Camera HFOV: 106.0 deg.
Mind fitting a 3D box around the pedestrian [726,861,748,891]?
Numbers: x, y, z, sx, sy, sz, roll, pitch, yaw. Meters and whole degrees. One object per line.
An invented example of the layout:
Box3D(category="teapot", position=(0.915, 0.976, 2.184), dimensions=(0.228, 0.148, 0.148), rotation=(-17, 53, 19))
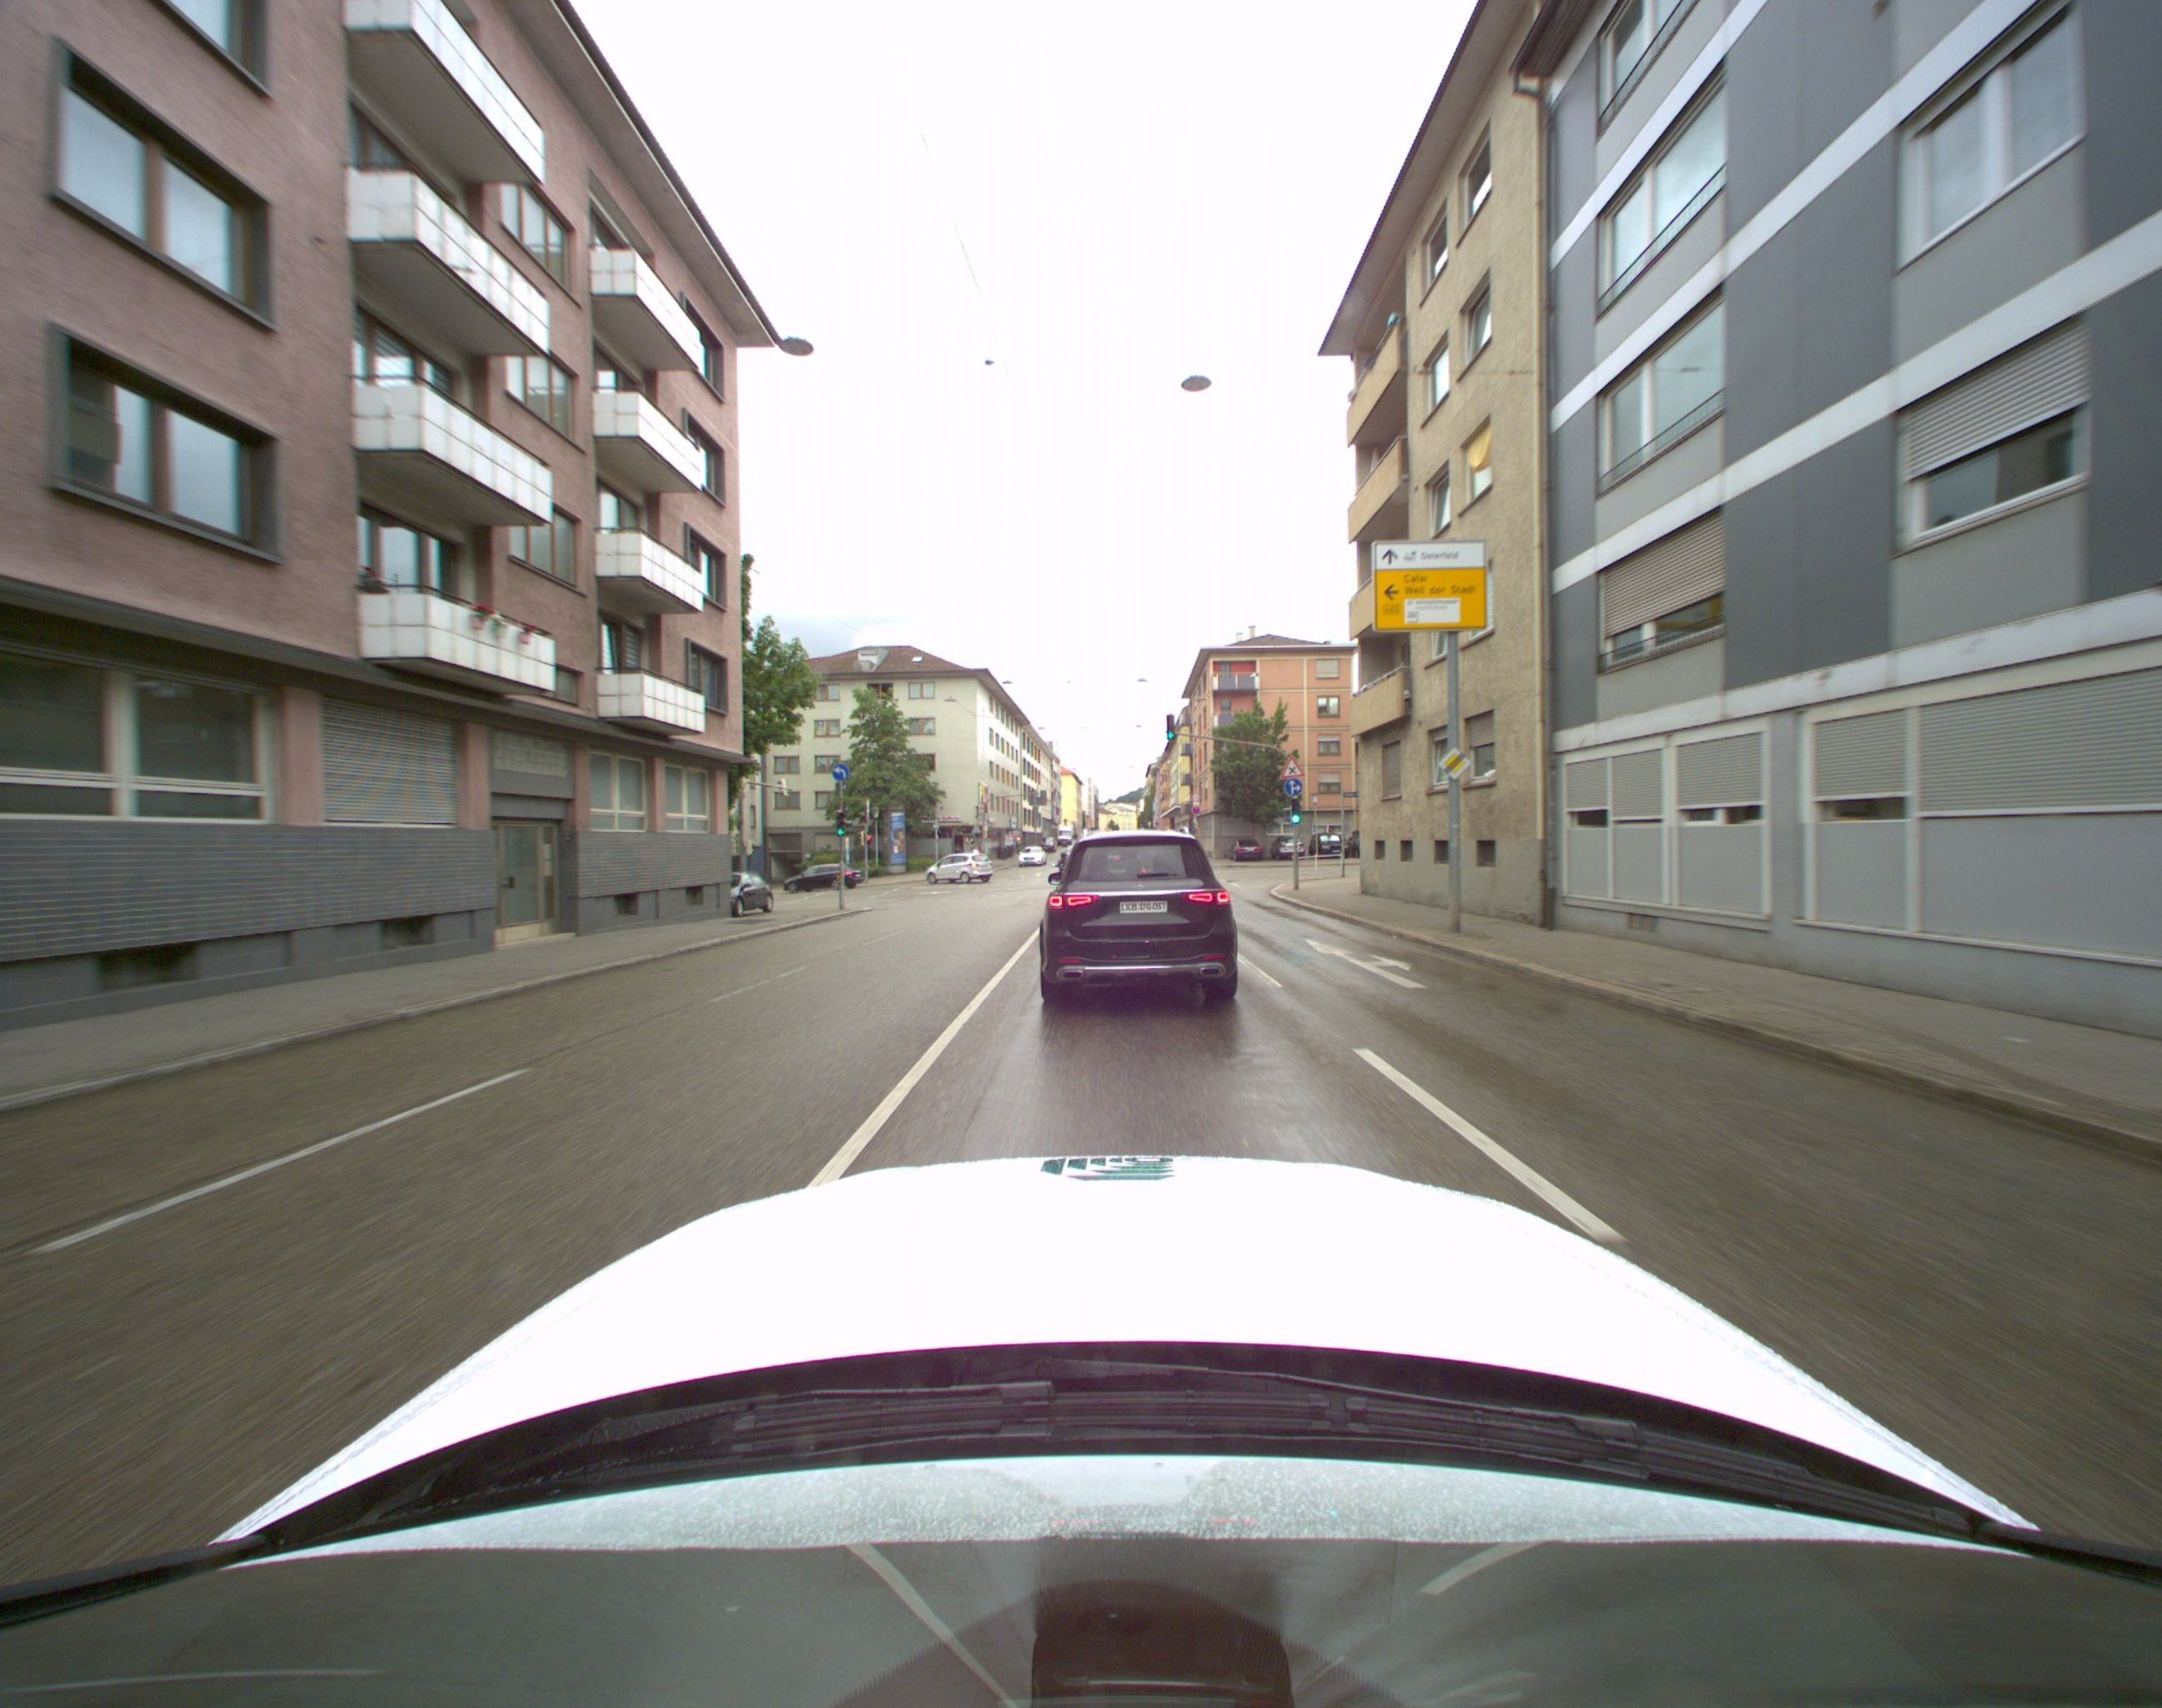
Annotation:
Box3D(category="pedestrian", position=(-21.357, 1.359, 50.552), dimensions=(0.906, 1.817, 0.760), rotation=(0, 4, 30))

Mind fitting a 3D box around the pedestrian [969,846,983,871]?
Box3D(category="pedestrian", position=(-7.323, 0.308, 56.800), dimensions=(0.713, 1.646, 0.751), rotation=(-2, 4, -34))

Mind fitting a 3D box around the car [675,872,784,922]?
Box3D(category="car", position=(-11.535, 1.354, 27.024), dimensions=(1.726, 1.360, 4.001), rotation=(-4, 0, 1))

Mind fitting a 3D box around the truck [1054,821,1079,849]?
Box3D(category="truck", position=(-2.075, -2.630, 118.559), dimensions=(2.794, 3.832, 8.155), rotation=(0, 0, 5))

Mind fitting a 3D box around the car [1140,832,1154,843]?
Box3D(category="car", position=(9.903, -2.426, 122.499), dimensions=(2.006, 1.562, 5.162), rotation=(0, 0, 5))

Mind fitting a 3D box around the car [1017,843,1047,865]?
Box3D(category="car", position=(-3.746, -0.018, 62.930), dimensions=(1.836, 1.512, 4.004), rotation=(-3, 1, 3))

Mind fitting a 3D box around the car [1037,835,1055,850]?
Box3D(category="car", position=(-4.020, -1.326, 93.979), dimensions=(1.717, 1.603, 4.002), rotation=(-2, 0, 2))

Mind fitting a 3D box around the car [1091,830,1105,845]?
Box3D(category="car", position=(2.865, -2.724, 134.318), dimensions=(2.056, 2.241, 4.625), rotation=(-2, 0, 4))

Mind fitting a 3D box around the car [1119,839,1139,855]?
Box3D(category="car", position=(4.648, -0.658, 78.982), dimensions=(1.836, 1.489, 4.004), rotation=(-2, 0, 3))

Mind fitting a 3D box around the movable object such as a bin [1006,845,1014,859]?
Box3D(category="movable object such as a bin", position=(-6.664, -0.189, 76.193), dimensions=(0.695, 1.315, 0.783), rotation=(0, -1, 1))

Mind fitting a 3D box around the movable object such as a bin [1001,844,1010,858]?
Box3D(category="movable object such as a bin", position=(-6.808, -0.278, 73.457), dimensions=(0.695, 1.315, 0.783), rotation=(0, -1, 1))

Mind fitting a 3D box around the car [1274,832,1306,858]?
Box3D(category="car", position=(14.483, -0.667, 56.670), dimensions=(1.973, 1.660, 4.014), rotation=(-2, 1, 13))

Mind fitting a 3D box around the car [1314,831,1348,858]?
Box3D(category="car", position=(17.174, -0.664, 56.089), dimensions=(1.972, 1.719, 4.015), rotation=(-2, 0, 14))

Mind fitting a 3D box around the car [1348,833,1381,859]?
Box3D(category="car", position=(19.202, -0.560, 55.278), dimensions=(1.781, 1.698, 4.016), rotation=(0, 1, 14))

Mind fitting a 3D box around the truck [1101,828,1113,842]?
Box3D(category="truck", position=(7.432, -5.443, 232.601), dimensions=(2.794, 3.832, 8.155), rotation=(0, 0, 5))

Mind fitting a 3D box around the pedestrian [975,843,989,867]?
Box3D(category="pedestrian", position=(-6.986, 0.067, 57.629), dimensions=(0.713, 1.646, 0.751), rotation=(-2, 4, -34))

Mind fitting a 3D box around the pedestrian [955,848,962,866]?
Box3D(category="pedestrian", position=(-9.735, 0.212, 64.640), dimensions=(0.517, 1.400, 0.578), rotation=(0, -1, -1))

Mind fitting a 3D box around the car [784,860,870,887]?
Box3D(category="car", position=(-14.252, 1.080, 45.743), dimensions=(4.232, 1.453, 1.728), rotation=(-1, -1, 10))

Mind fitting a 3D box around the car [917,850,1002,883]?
Box3D(category="car", position=(-6.590, 0.681, 44.006), dimensions=(4.208, 1.599, 2.040), rotation=(-2, 0, 33))

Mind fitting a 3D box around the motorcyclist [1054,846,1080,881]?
Box3D(category="motorcyclist", position=(-0.624, 0.415, 35.769), dimensions=(0.907, 1.453, 0.742), rotation=(-2, 0, -18))

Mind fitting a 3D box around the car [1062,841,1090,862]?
Box3D(category="car", position=(-0.357, -0.250, 63.678), dimensions=(1.836, 1.489, 4.004), rotation=(-3, 1, 3))

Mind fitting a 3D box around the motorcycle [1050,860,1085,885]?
Box3D(category="motorcycle", position=(-0.606, 0.789, 35.714), dimensions=(0.865, 1.006, 2.237), rotation=(-2, 0, -19))

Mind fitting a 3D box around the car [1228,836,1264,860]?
Box3D(category="car", position=(11.536, -0.421, 57.187), dimensions=(1.835, 1.554, 4.802), rotation=(-2, 1, 4))

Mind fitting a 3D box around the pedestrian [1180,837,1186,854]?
Box3D(category="pedestrian", position=(9.580, -0.830, 76.616), dimensions=(0.518, 1.538, 0.570), rotation=(0, 4, 3))

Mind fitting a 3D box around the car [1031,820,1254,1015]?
Box3D(category="car", position=(0.585, 0.597, 9.883), dimensions=(2.014, 1.739, 4.747), rotation=(-2, 0, 0))

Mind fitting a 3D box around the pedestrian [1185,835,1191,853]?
Box3D(category="pedestrian", position=(9.607, -0.866, 72.977), dimensions=(0.477, 1.565, 0.558), rotation=(0, 4, 3))

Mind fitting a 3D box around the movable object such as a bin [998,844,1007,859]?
Box3D(category="movable object such as a bin", position=(-6.906, -0.192, 71.435), dimensions=(0.695, 1.315, 0.783), rotation=(0, -1, 1))

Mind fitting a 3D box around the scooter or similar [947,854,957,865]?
Box3D(category="scooter or similar", position=(-9.542, 0.418, 60.165), dimensions=(0.460, 0.843, 1.313), rotation=(0, 0, -20))

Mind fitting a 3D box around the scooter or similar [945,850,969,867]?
Box3D(category="scooter or similar", position=(-8.884, 0.319, 58.343), dimensions=(1.565, 1.190, 0.497), rotation=(0, -1, -27))
